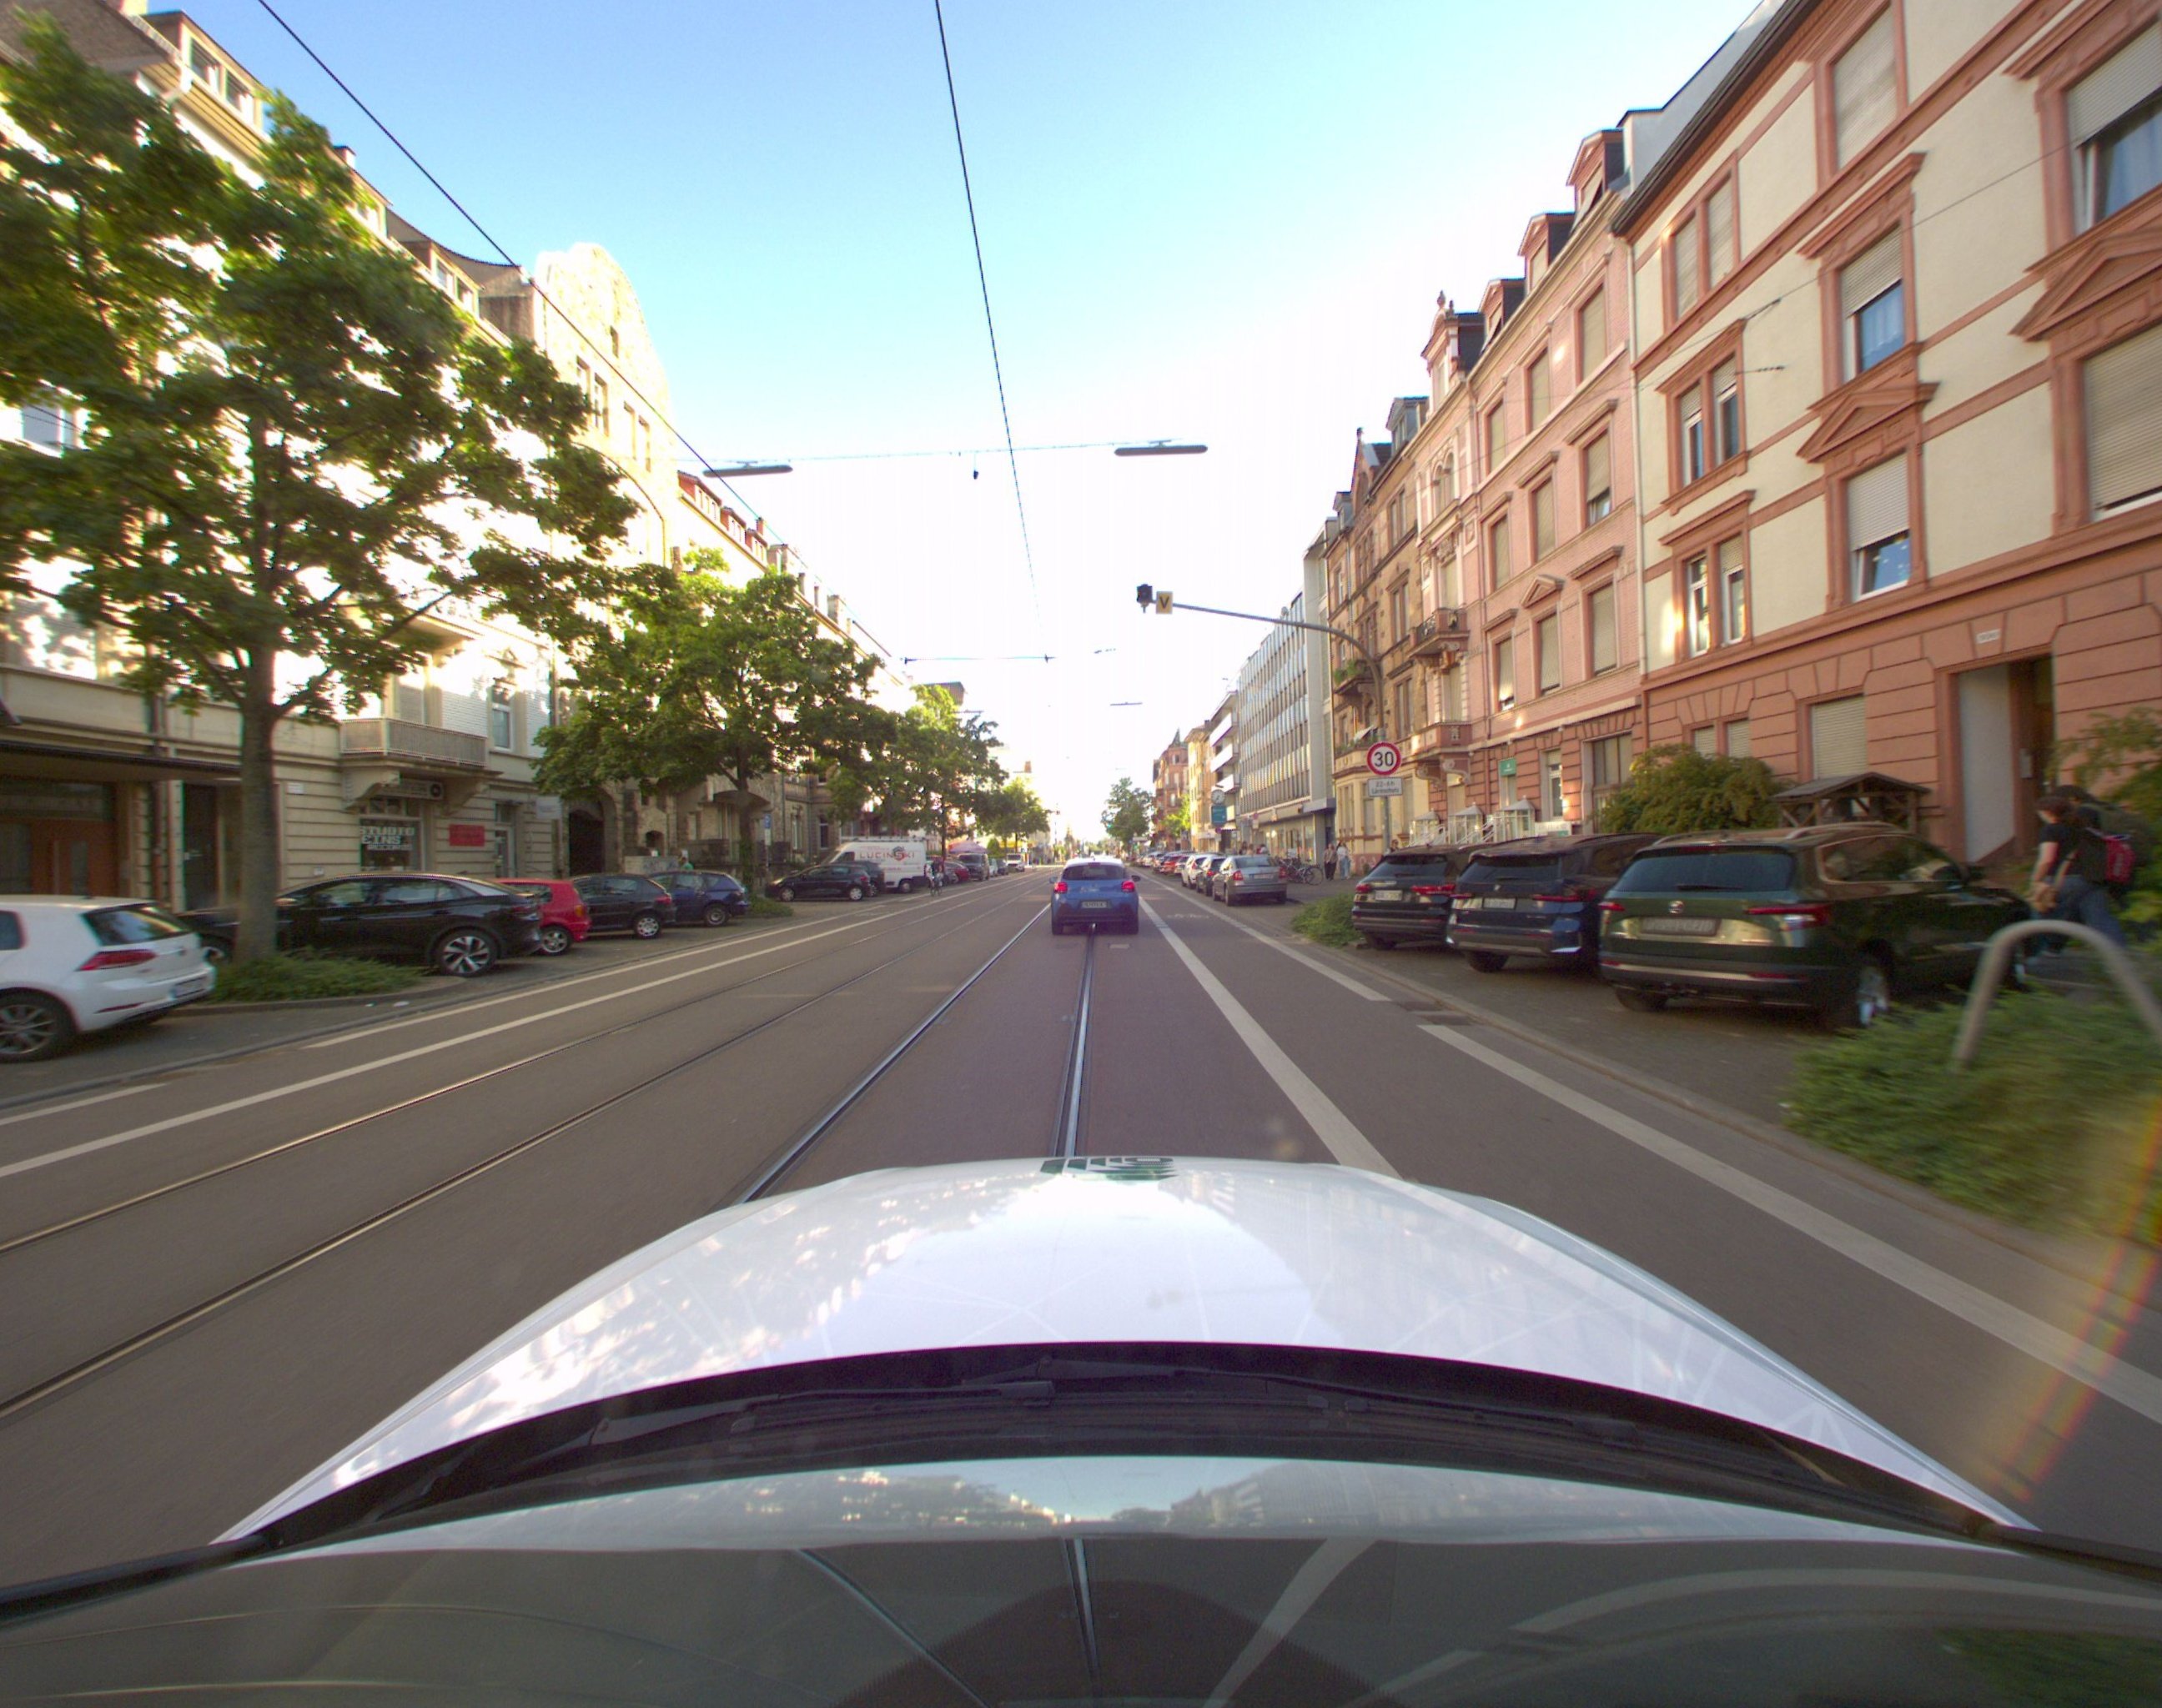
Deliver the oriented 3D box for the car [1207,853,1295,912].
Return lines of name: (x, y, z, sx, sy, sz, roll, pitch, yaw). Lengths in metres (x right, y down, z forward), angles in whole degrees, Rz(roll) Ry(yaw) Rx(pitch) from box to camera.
car: (5.068, 0.816, 24.908, 1.866, 1.596, 4.721, -1, -1, 2)

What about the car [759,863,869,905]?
car: (-10.457, 1.153, 32.210, 3.994, 1.489, 1.797, -1, -1, -15)

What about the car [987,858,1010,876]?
car: (-7.381, 1.149, 73.325, 1.742, 1.487, 4.039, -1, -1, -2)

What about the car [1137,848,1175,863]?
car: (8.018, 0.170, 87.362, 3.664, 1.574, 1.849, -1, -1, -18)

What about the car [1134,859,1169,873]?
car: (8.096, 1.326, 93.899, 3.664, 1.534, 1.778, -1, -1, -18)

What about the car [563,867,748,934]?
car: (-10.767, 1.123, 20.857, 4.008, 1.489, 1.790, -1, -1, -27)

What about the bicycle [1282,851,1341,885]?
bicycle: (8.777, 0.530, 31.054, 2.050, 1.221, 0.663, -2, -1, -1)

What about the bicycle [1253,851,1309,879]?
bicycle: (8.974, 0.481, 36.625, 2.347, 1.221, 0.664, -1, -1, 4)

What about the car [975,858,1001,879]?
car: (-7.749, 1.187, 68.120, 1.742, 1.618, 4.408, -1, -1, -2)

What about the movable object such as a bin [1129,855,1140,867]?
movable object such as a bin: (6.791, 0.911, 103.215, 1.389, 1.483, 1.656, -1, -1, 1)

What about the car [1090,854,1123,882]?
car: (1.532, 0.831, 49.171, 1.866, 1.596, 4.002, -1, -1, 2)

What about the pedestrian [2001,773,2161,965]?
pedestrian: (9.843, 0.143, 8.039, 0.516, 1.778, 0.864, -1, -1, 2)

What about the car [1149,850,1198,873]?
car: (6.970, 0.545, 61.471, 3.467, 1.640, 1.666, -1, -1, -35)

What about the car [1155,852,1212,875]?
car: (7.020, 0.639, 55.563, 3.463, 1.555, 1.806, -1, -1, -30)

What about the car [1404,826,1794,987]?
car: (6.214, 0.512, 9.826, 4.004, 1.596, 2.071, -1, -1, -23)

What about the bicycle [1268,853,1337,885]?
bicycle: (8.826, 0.588, 32.485, 2.529, 1.221, 0.664, -1, -1, 0)

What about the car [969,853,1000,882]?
car: (-6.949, 0.952, 58.930, 1.742, 1.973, 5.237, -1, -1, -1)

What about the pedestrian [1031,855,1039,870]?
pedestrian: (-5.177, 0.983, 91.939, 0.732, 1.726, 0.623, -1, -1, -23)

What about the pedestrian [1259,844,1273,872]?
pedestrian: (11.761, 0.252, 51.759, 0.690, 1.756, 0.678, -1, -1, 1)

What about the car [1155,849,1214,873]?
car: (7.482, 0.485, 58.802, 3.743, 1.652, 2.027, -1, -1, -32)

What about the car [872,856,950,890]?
car: (-9.467, 1.038, 45.327, 4.006, 1.817, 1.699, -1, -1, -24)

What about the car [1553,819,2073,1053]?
car: (6.498, 0.549, 7.267, 4.004, 1.596, 1.944, -1, -1, -23)

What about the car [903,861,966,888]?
car: (-9.339, 1.276, 51.976, 3.736, 1.622, 1.777, -1, -1, -20)

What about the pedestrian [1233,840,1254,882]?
pedestrian: (6.700, 0.284, 33.556, 0.709, 1.671, 0.654, -1, -1, 0)

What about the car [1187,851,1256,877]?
car: (8.439, 0.580, 48.939, 3.796, 1.487, 1.822, -1, -1, -28)

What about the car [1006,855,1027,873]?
car: (-6.866, 1.013, 87.057, 1.825, 1.848, 4.215, -1, -1, 2)

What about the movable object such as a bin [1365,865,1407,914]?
movable object such as a bin: (6.622, 0.755, 17.697, 0.602, 1.027, 0.806, -2, -1, 1)

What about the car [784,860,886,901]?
car: (-10.513, 1.085, 34.854, 4.006, 1.618, 1.699, -1, -1, -24)

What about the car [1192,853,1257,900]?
car: (5.288, 0.797, 30.480, 1.866, 1.596, 4.002, -1, -1, 2)

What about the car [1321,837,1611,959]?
car: (6.009, 0.570, 12.615, 4.330, 1.596, 1.963, -1, -1, -31)

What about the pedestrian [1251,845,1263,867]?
pedestrian: (12.779, 0.120, 59.073, 0.690, 1.588, 0.678, -1, -1, 1)

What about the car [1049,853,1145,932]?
car: (0.337, 0.730, 16.932, 1.756, 1.441, 3.557, -1, -1, 1)

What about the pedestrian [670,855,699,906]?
pedestrian: (-13.499, 0.891, 27.732, 0.575, 1.726, 0.762, -1, -1, 1)

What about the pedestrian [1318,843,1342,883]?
pedestrian: (10.389, 0.355, 34.026, 0.709, 1.607, 0.654, -4, -1, 0)

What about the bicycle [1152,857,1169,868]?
bicycle: (7.531, 0.798, 77.184, 0.557, 1.048, 1.789, 0, -1, -34)

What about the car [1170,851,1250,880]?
car: (7.304, 0.642, 45.897, 4.465, 1.508, 1.522, -1, -1, -28)

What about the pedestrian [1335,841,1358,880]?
pedestrian: (11.137, 0.253, 34.171, 0.709, 1.607, 0.654, -1, -1, 0)

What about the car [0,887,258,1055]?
car: (-10.811, 1.102, 7.710, 3.850, 1.430, 1.752, -1, -1, -25)

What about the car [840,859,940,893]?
car: (-9.946, 1.108, 42.581, 4.787, 1.618, 1.695, -1, -1, -31)

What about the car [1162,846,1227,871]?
car: (7.359, 0.269, 52.691, 3.743, 1.521, 1.949, -1, -1, -32)

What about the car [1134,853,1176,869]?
car: (7.299, 0.702, 80.480, 3.674, 1.574, 1.844, -1, -1, -27)

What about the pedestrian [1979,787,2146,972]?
pedestrian: (9.266, 0.229, 7.727, 0.516, 1.648, 0.864, -1, -1, 2)

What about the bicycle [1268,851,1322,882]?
bicycle: (8.784, 0.523, 33.445, 2.012, 1.221, 0.664, -1, -1, 0)

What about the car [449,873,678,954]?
car: (-11.094, 1.199, 17.746, 4.013, 1.489, 1.788, -1, -1, -31)

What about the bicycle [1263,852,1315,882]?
bicycle: (8.784, 0.544, 34.485, 2.012, 1.221, 0.664, -1, -1, 0)

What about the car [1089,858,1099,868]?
car: (2.026, 1.392, 127.264, 1.417, 1.432, 3.140, -1, -1, 2)

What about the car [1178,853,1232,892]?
car: (5.420, 0.779, 35.997, 1.866, 1.596, 4.002, -1, -1, 2)

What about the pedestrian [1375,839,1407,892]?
pedestrian: (9.692, 0.359, 25.472, 0.709, 1.607, 0.654, -1, -1, 0)

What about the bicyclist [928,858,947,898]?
bicyclist: (-6.191, 1.026, 35.212, 0.632, 1.681, 0.727, -1, -1, 1)

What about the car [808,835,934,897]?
car: (-9.711, 0.518, 37.869, 5.402, 2.749, 1.789, -1, -1, -29)

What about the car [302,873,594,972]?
car: (-11.254, 1.137, 14.908, 4.013, 1.489, 1.849, -1, -1, -31)

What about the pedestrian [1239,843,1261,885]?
pedestrian: (6.670, 0.390, 32.142, 0.709, 1.607, 0.654, -1, -1, 0)

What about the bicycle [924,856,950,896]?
bicycle: (-6.201, 0.928, 35.208, 0.678, 1.679, 2.097, -1, -1, 2)

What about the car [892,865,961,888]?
car: (-9.258, 1.340, 48.735, 3.815, 1.265, 1.504, -1, -1, -24)

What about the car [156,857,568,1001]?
car: (-10.422, 0.970, 12.369, 4.381, 1.783, 1.976, -1, -1, -31)
